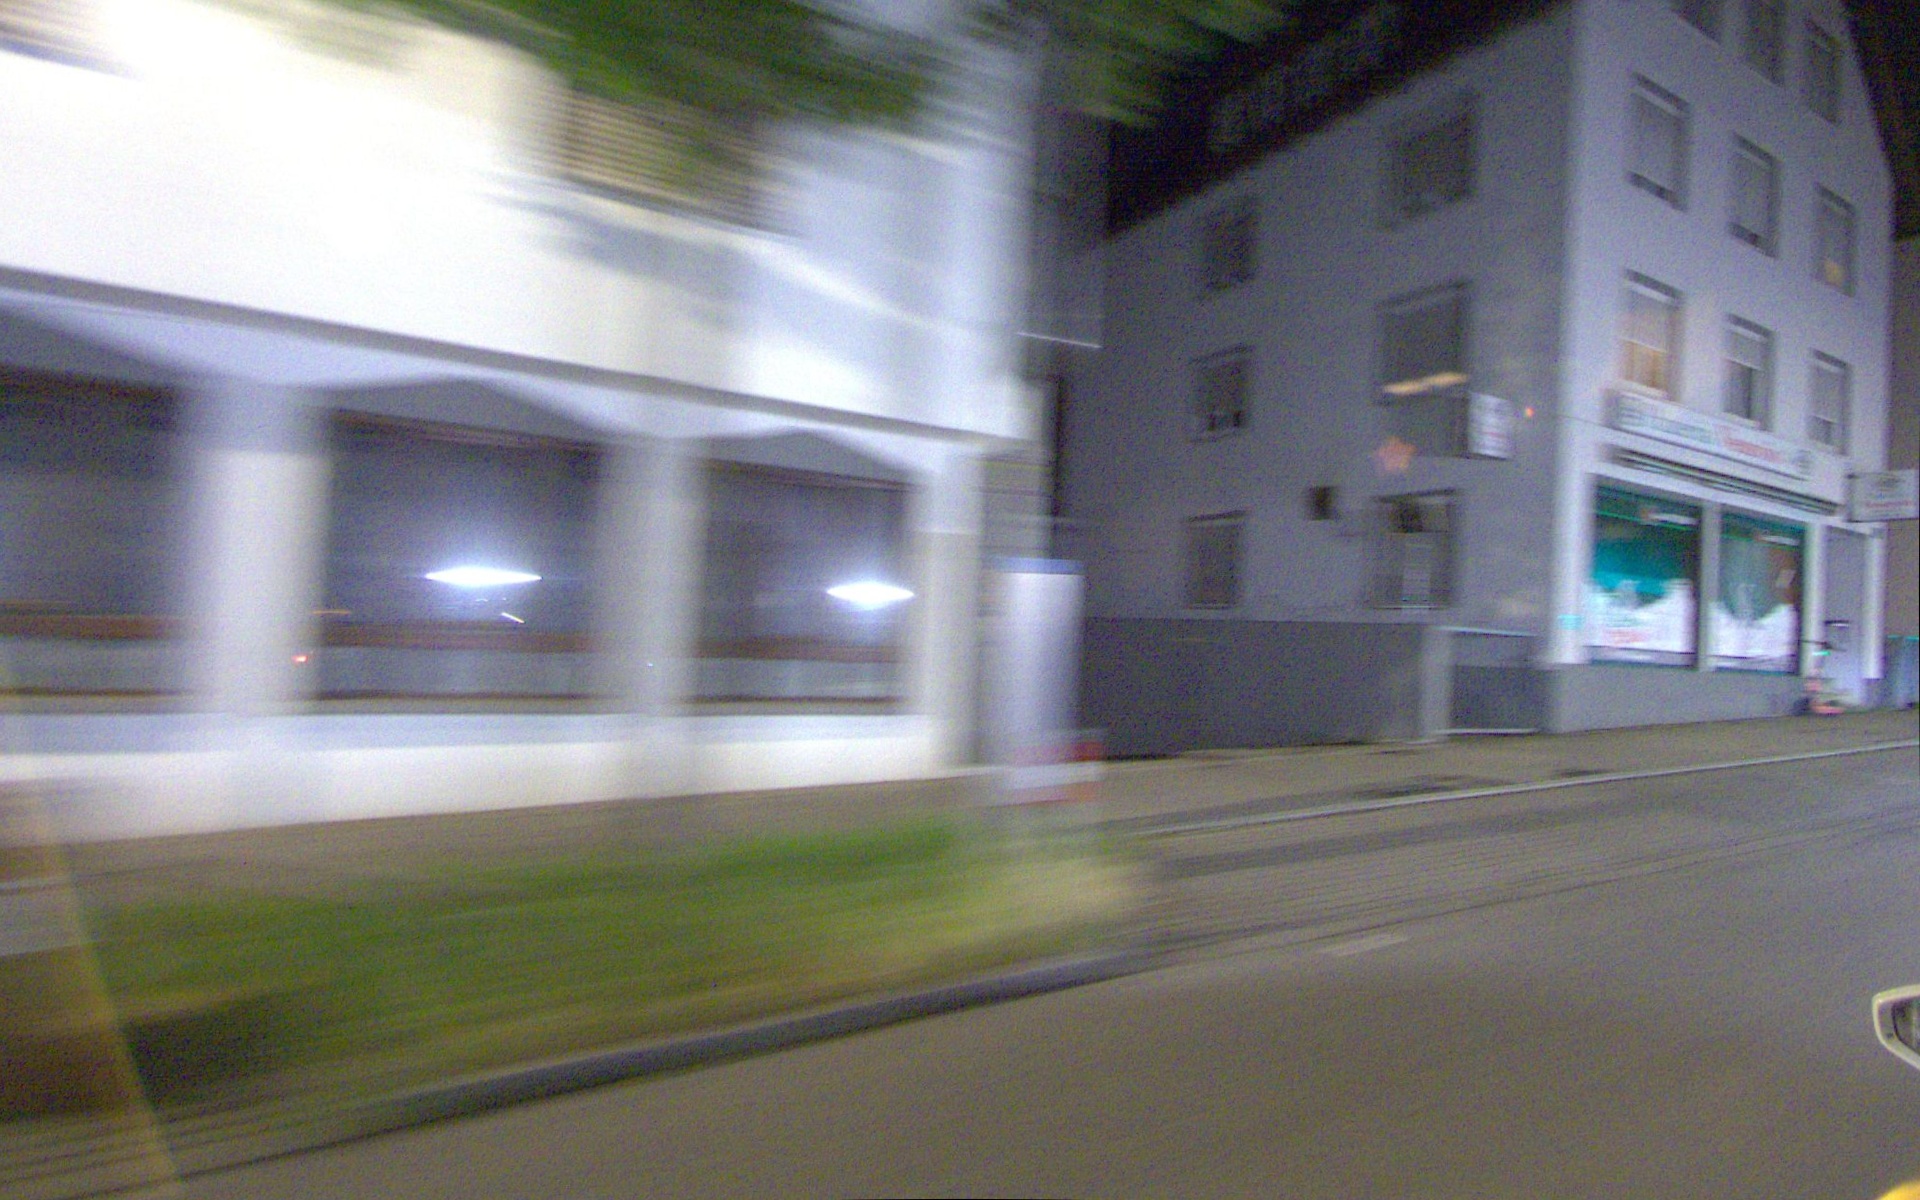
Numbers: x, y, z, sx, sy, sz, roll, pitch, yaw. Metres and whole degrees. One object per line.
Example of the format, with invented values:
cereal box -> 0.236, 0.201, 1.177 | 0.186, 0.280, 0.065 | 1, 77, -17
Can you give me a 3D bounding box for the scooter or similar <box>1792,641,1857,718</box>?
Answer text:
scooter or similar -> 14.395, 1.316, 16.718 | 1.319, 1.242, 0.330 | 2, 0, -28
